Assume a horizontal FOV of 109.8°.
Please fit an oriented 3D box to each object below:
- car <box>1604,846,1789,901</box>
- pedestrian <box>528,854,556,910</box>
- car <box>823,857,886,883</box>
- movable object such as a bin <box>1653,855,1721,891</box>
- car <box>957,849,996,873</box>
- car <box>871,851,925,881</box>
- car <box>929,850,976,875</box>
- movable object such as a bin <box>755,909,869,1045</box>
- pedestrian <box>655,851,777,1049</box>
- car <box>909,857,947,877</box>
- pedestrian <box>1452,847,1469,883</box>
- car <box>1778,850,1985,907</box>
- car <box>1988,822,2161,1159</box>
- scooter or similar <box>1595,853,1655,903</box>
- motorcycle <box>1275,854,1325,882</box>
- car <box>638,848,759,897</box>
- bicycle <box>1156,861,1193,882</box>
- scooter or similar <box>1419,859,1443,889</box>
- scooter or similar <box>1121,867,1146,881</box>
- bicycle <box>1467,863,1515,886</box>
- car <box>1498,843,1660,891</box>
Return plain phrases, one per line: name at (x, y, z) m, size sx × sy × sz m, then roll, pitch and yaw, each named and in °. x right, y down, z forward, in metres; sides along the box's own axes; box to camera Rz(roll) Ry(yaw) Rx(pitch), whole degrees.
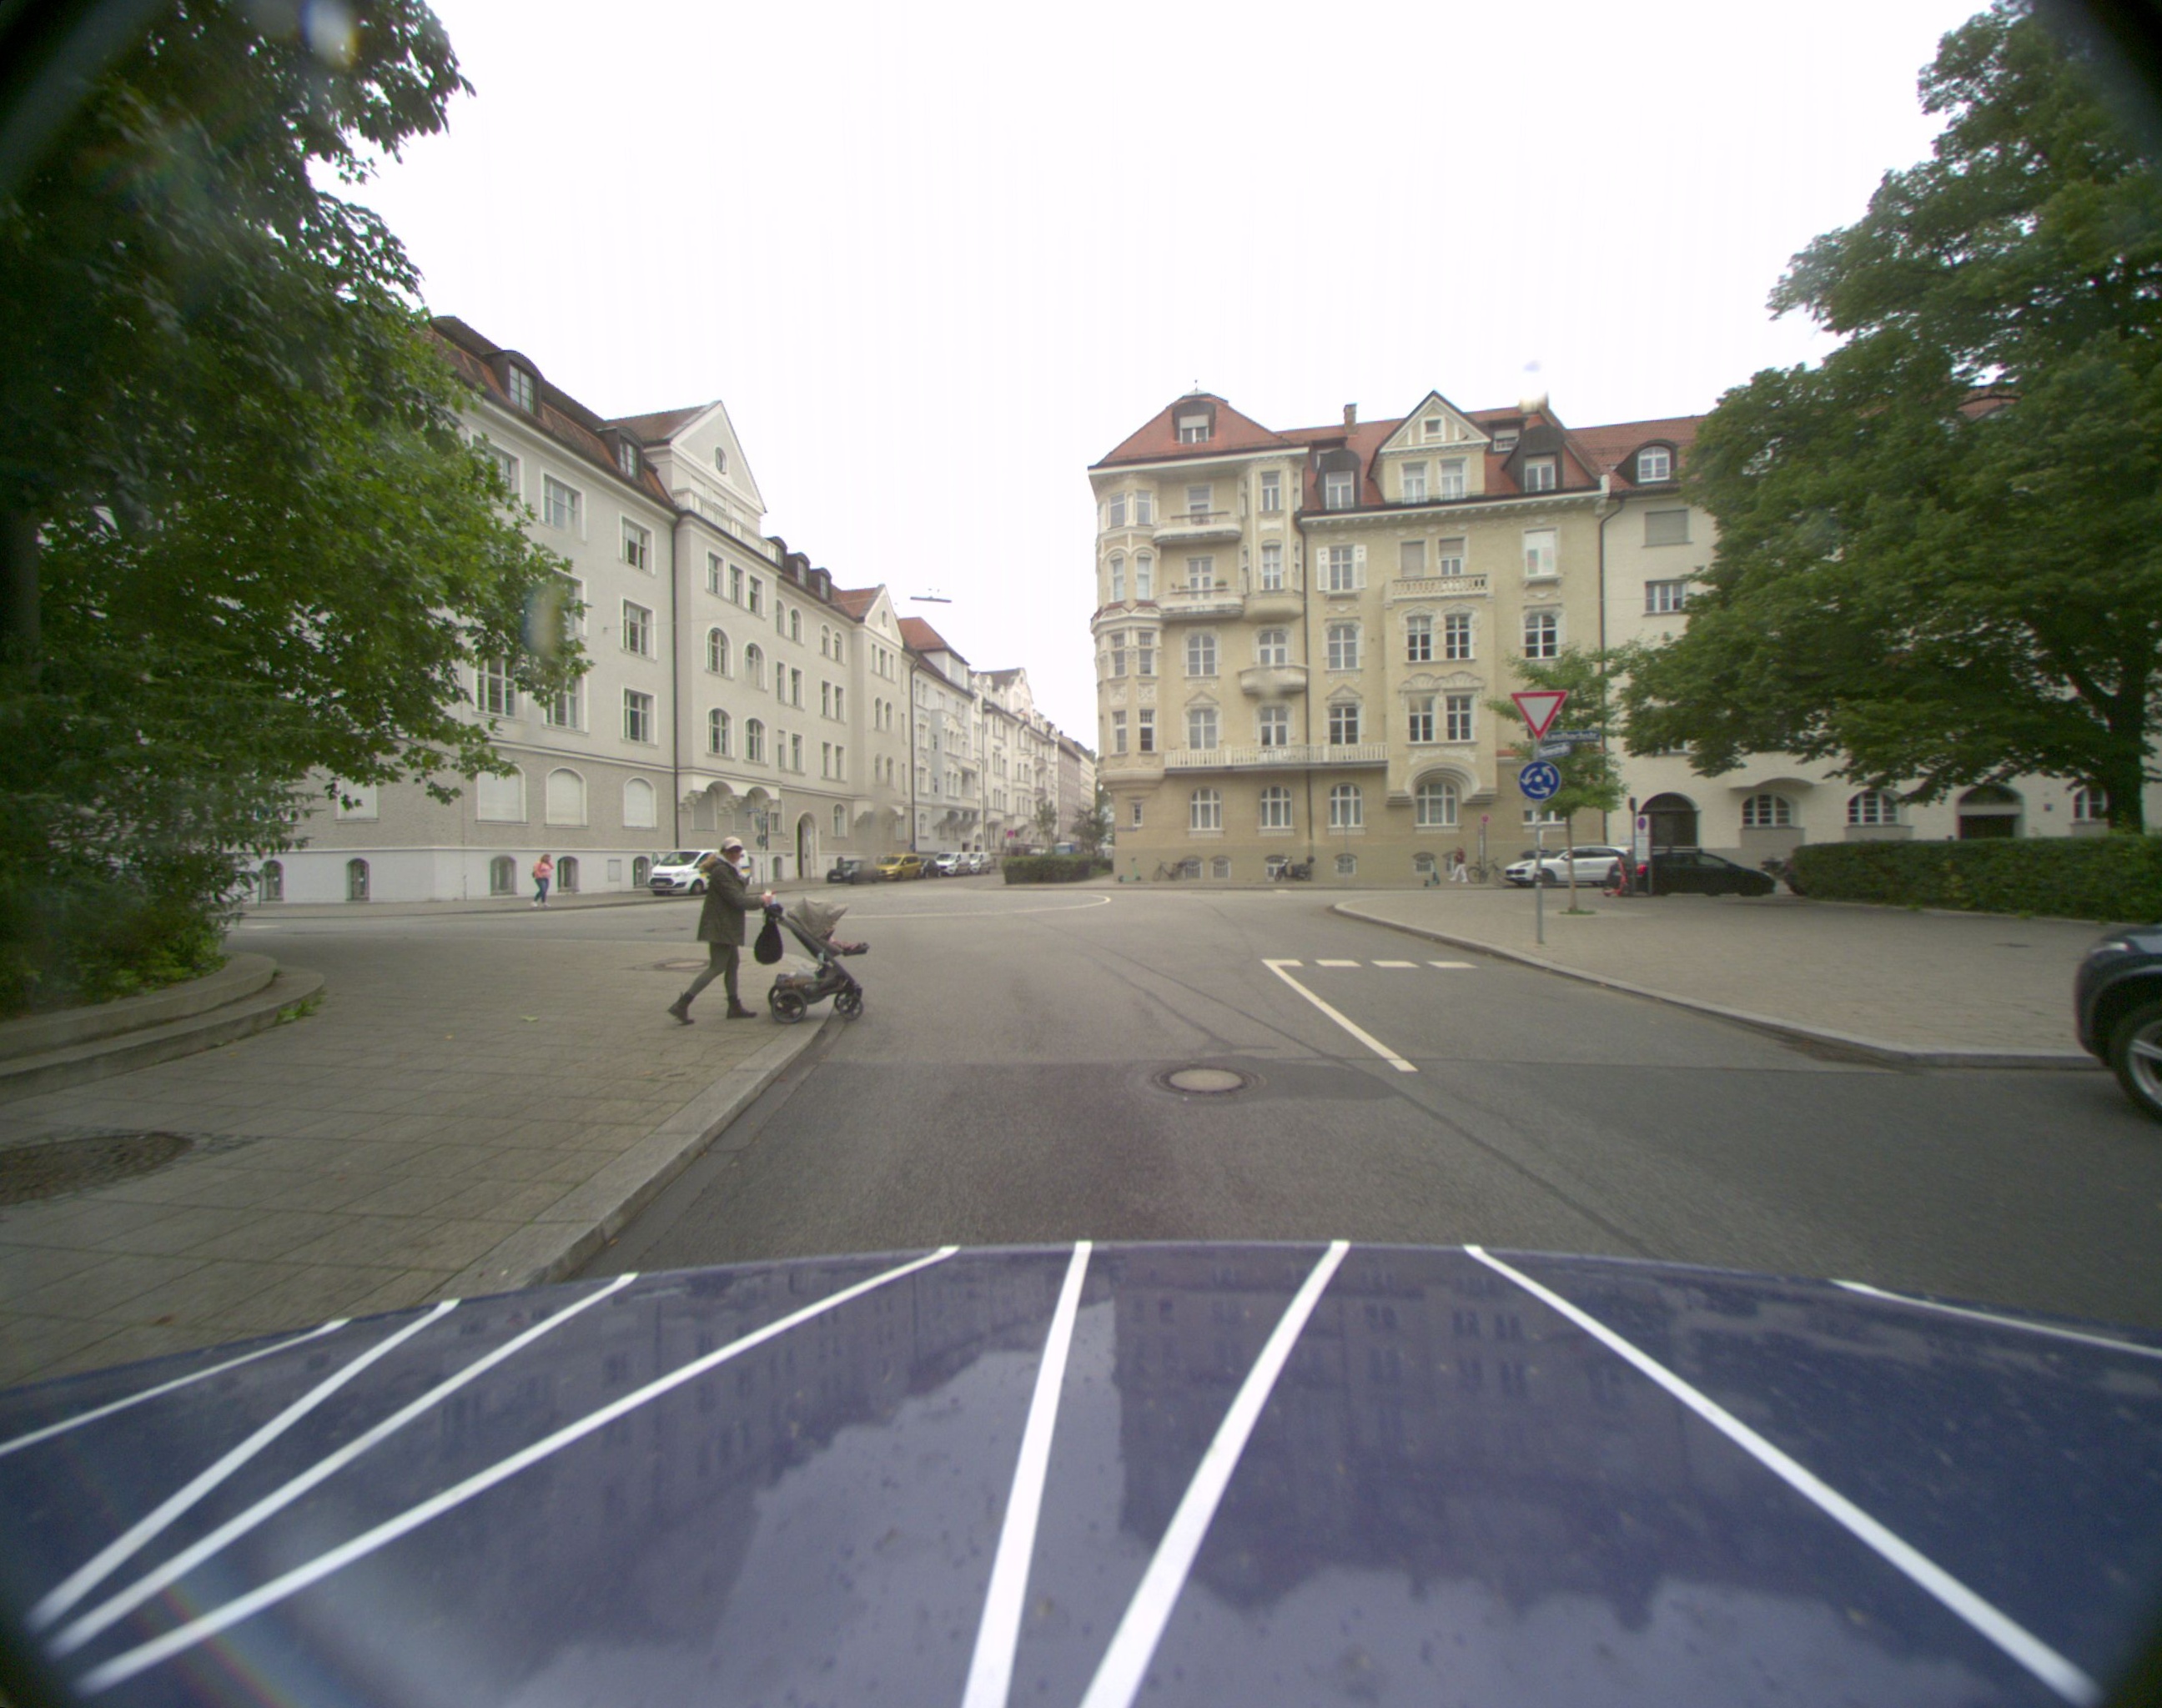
car at (18.311, 0.571, 22.753) m, size 4.095 × 1.580 × 1.592 m, roll 0°, pitch 0°, yaw 6°
pedestrian at (-17.380, 0.899, 24.501) m, size 0.404 × 1.758 × 0.571 m, roll 0°, pitch 1°, yaw 21°
car at (-13.485, 0.926, 45.403) m, size 1.948 × 1.412 × 3.822 m, roll 0°, pitch 2°, yaw 13°
movable object such as a bin at (24.137, 0.725, 30.341) m, size 1.870 × 1.365 × 1.568 m, roll 0°, pitch 2°, yaw 29°
car at (-9.223, 0.593, 67.653) m, size 2.051 × 1.928 × 4.579 m, roll 0°, pitch 2°, yaw 11°
car at (-12.116, 0.741, 50.571) m, size 1.793 × 1.809 × 4.307 m, roll 0°, pitch 2°, yaw 13°
car at (-10.339, 0.637, 61.612) m, size 2.155 × 1.902 × 4.776 m, roll 0°, pitch 2°, yaw 11°
movable object such as a bin at (-2.443, 1.073, 6.909) m, size 0.901 × 1.077 × 0.776 m, roll 2°, pitch 1°, yaw -21°
pedestrian at (-3.136, 0.792, 6.597) m, size 0.864 × 1.610 × 0.593 m, roll 2°, pitch 1°, yaw -21°
car at (-11.235, 0.920, 55.866) m, size 1.440 × 1.351 × 3.361 m, roll 0°, pitch 2°, yaw 13°
pedestrian at (17.403, 0.499, 34.831) m, size 0.606 × 1.655 × 0.463 m, roll 0°, pitch 2°, yaw 15°
car at (23.741, 0.684, 22.686) m, size 4.093 × 1.581 × 1.592 m, roll 0°, pitch 2°, yaw 10°
car at (6.361, 0.743, 2.144) m, size 1.883 × 1.758 × 5.060 m, roll -1°, pitch 1°, yaw 6°
scooter or similar at (15.491, 0.674, 21.639) m, size 0.804 × 1.379 × 1.103 m, roll -2°, pitch -1°, yaw -29°
motorcycle at (10.512, 0.671, 36.538) m, size 2.242 × 1.319 × 0.824 m, roll 0°, pitch 2°, yaw 8°
car at (-16.398, 0.720, 32.932) m, size 1.948 × 1.923 × 4.978 m, roll 0°, pitch 0°, yaw 13°
bicycle at (4.650, 0.861, 37.855) m, size 1.783 × 0.986 × 0.543 m, roll -1°, pitch 2°, yaw 7°
scooter or similar at (14.865, 0.831, 32.241) m, size 1.280 × 1.223 × 0.408 m, roll -2°, pitch 2°, yaw -40°
scooter or similar at (2.614, 1.001, 37.866) m, size 1.234 × 0.683 × 0.316 m, roll -1°, pitch 2°, yaw -18°
bicycle at (17.902, 0.896, 33.200) m, size 1.808 × 0.952 × 0.468 m, roll 0°, pitch 2°, yaw 13°
car at (20.085, 0.483, 30.887) m, size 5.022 × 1.855 × 2.167 m, roll 0°, pitch 2°, yaw 10°
